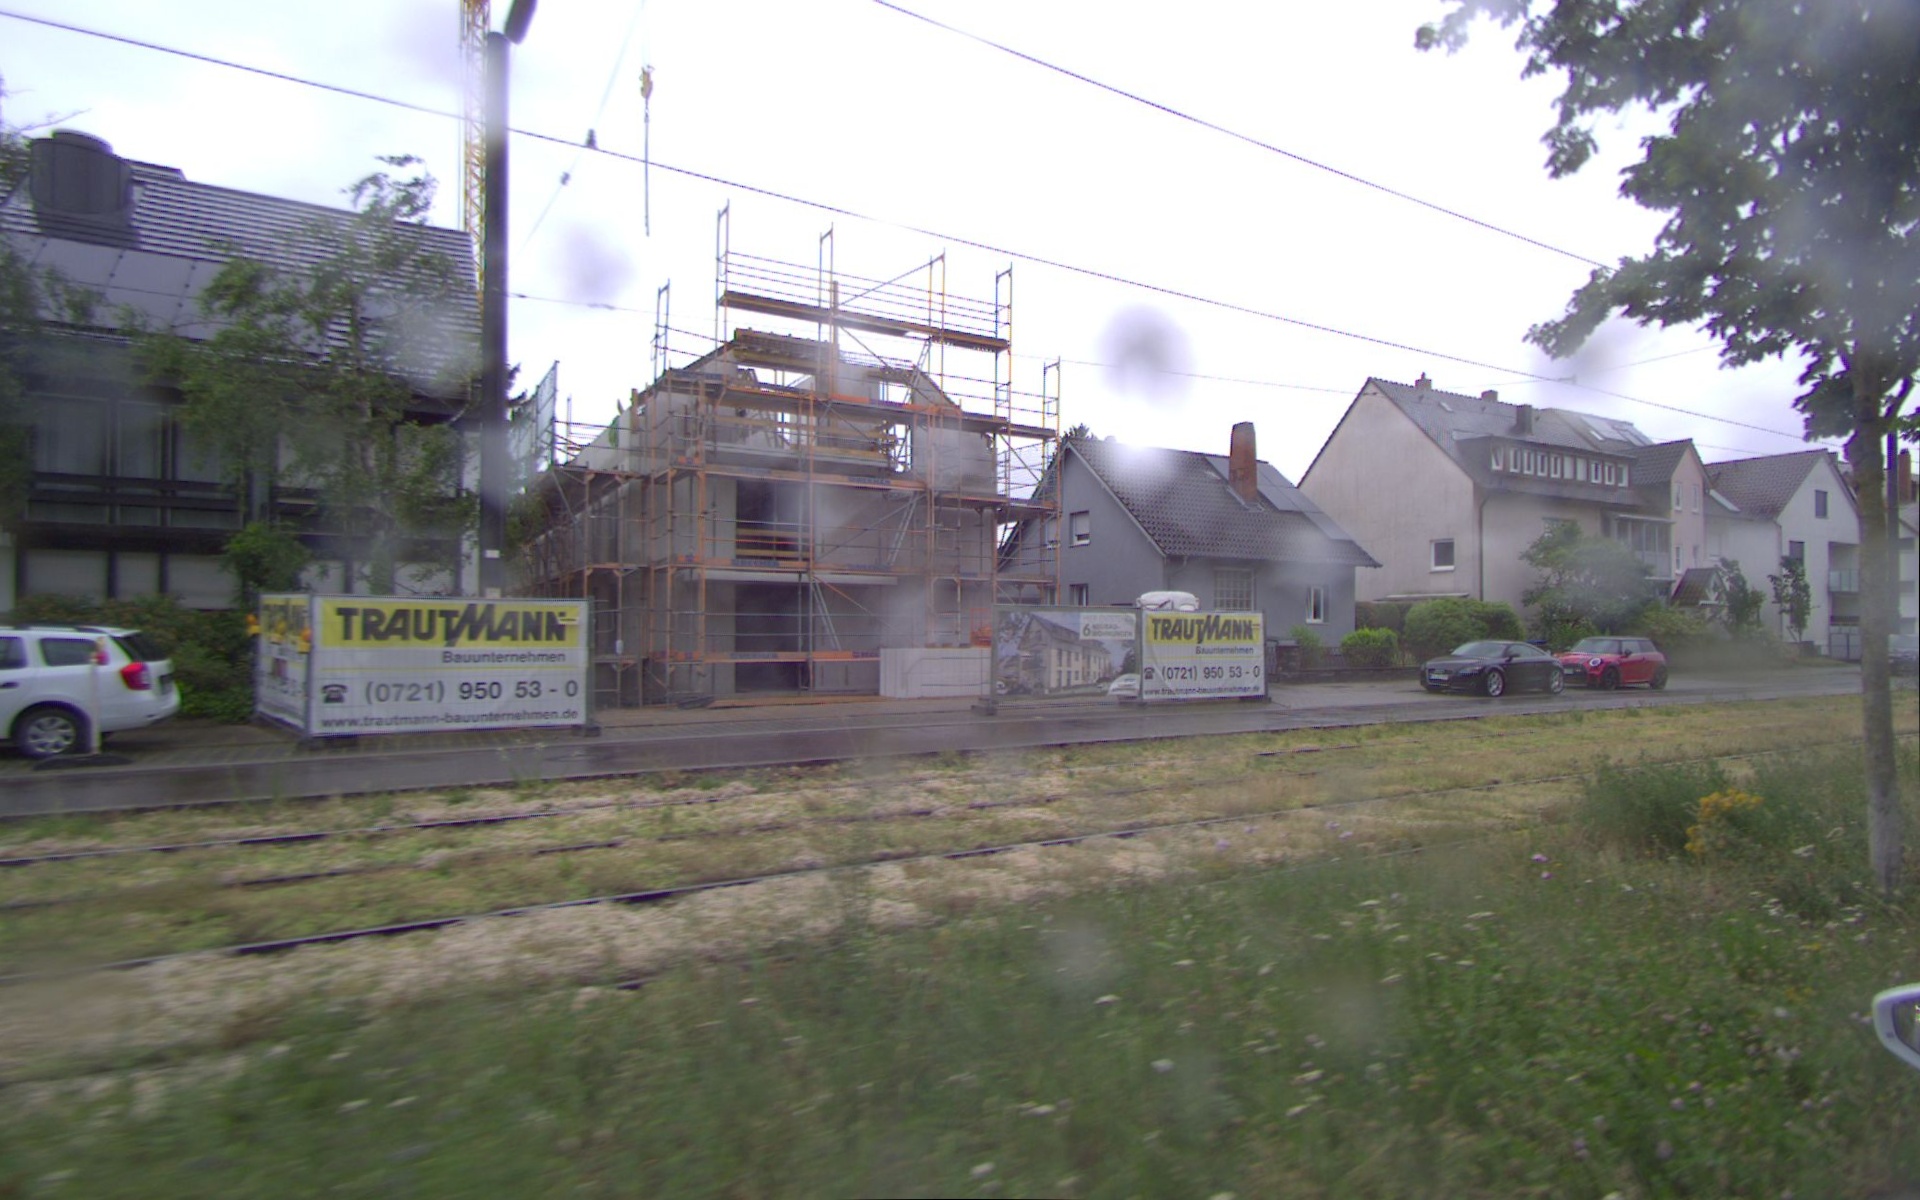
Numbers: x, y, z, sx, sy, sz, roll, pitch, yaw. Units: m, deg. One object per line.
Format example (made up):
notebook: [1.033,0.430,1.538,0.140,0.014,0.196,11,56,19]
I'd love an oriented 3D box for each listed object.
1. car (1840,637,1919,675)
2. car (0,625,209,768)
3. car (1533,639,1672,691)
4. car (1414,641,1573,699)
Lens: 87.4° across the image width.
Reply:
car: [35.669,2.093,38.067,4.627,1.261,1.890,1,0,-27]
car: [-11.784,1.110,11.928,4.368,1.563,1.702,1,1,-29]
car: [17.877,1.776,27.939,3.808,1.261,1.667,1,0,-29]
car: [13.472,1.715,25.320,4.022,1.261,1.656,1,0,-30]
